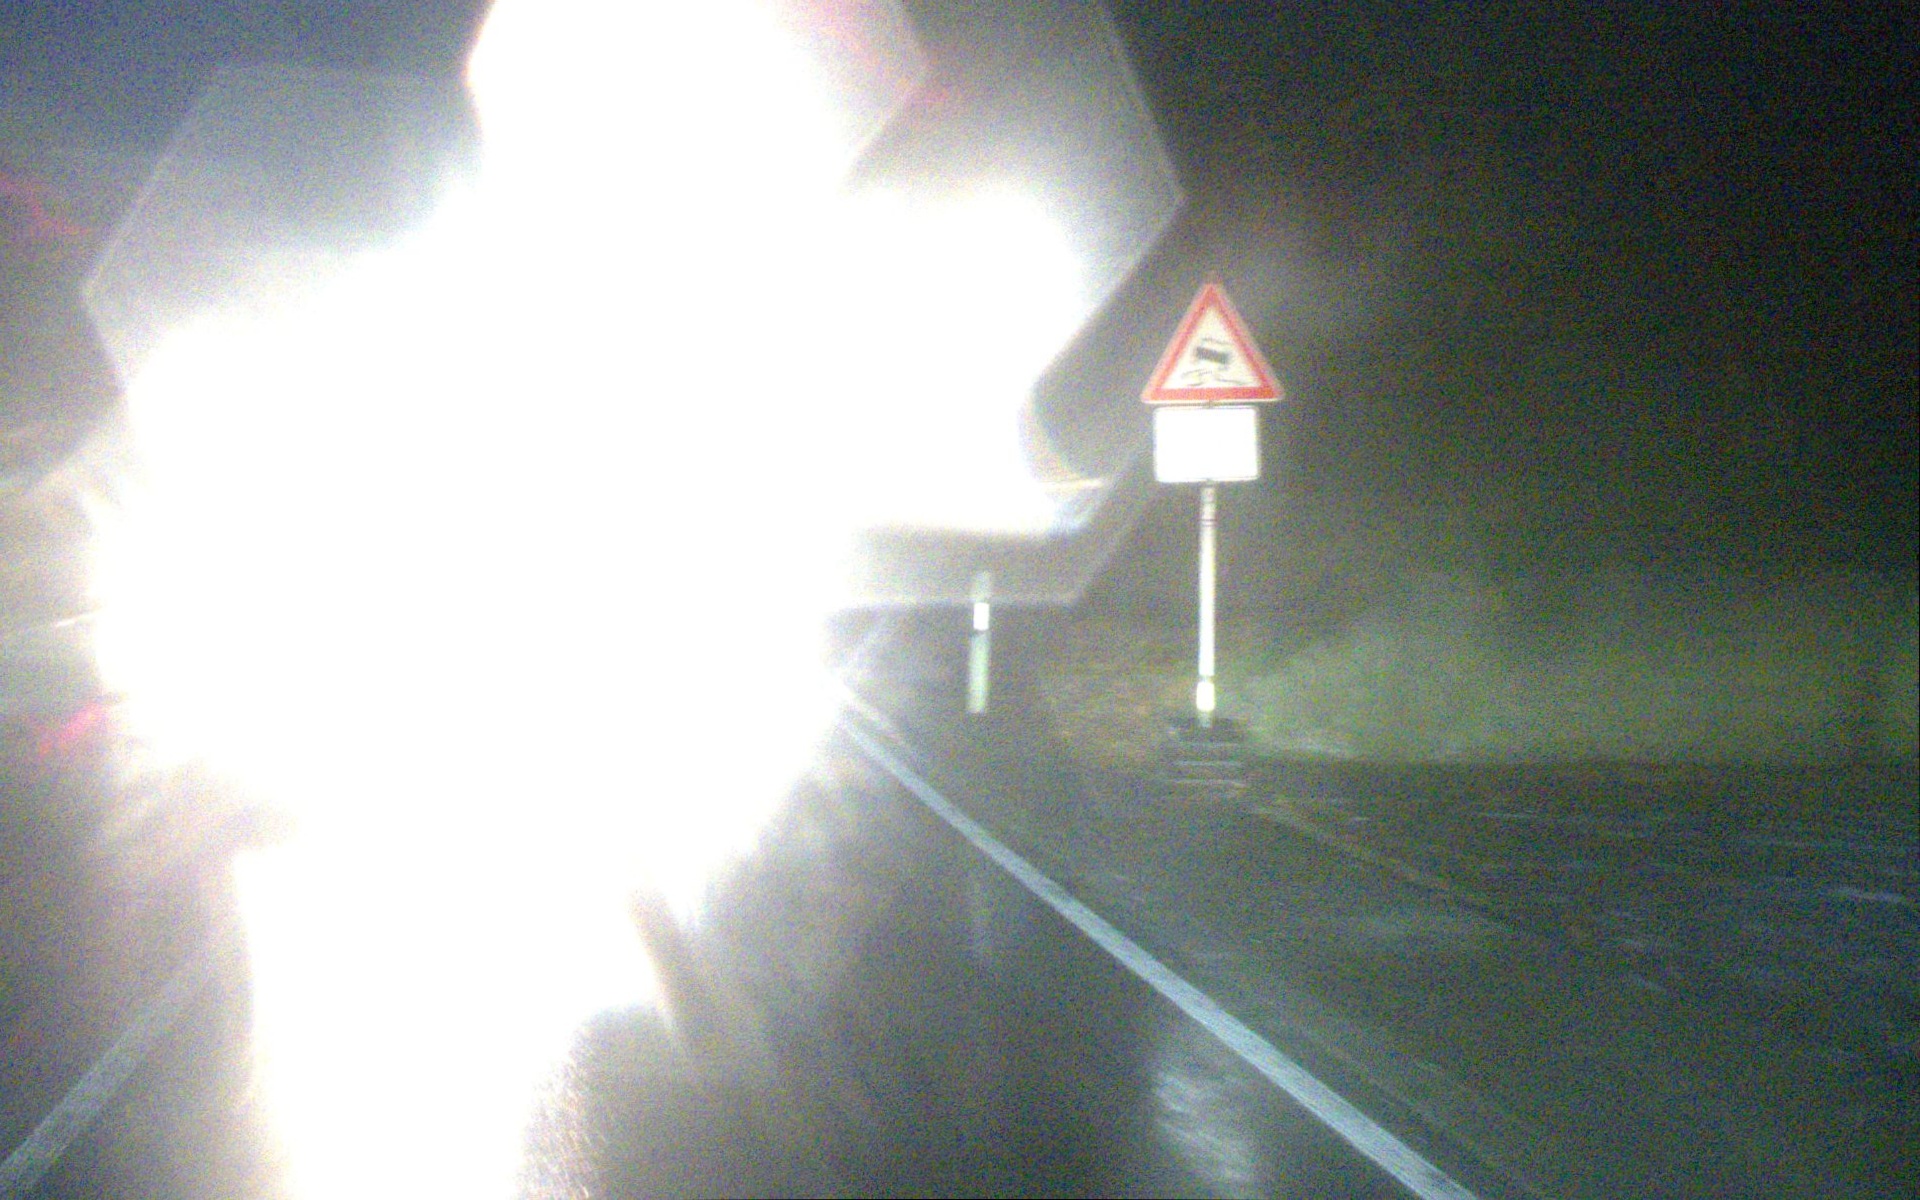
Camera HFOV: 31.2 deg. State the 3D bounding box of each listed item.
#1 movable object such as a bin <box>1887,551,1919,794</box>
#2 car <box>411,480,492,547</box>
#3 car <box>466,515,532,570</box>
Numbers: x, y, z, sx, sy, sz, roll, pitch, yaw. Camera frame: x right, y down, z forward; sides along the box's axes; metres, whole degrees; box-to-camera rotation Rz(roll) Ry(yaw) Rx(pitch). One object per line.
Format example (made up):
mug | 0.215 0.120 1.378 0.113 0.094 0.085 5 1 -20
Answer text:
movable object such as a bin | 5.926 0.379 18.598 1.173 1.304 1.322 -3 3 -43
car | -13.559 -2.341 91.850 1.888 1.665 4.001 -2 3 -6
car | -14.467 -1.817 107.982 1.888 1.580 4.001 -2 3 -6
